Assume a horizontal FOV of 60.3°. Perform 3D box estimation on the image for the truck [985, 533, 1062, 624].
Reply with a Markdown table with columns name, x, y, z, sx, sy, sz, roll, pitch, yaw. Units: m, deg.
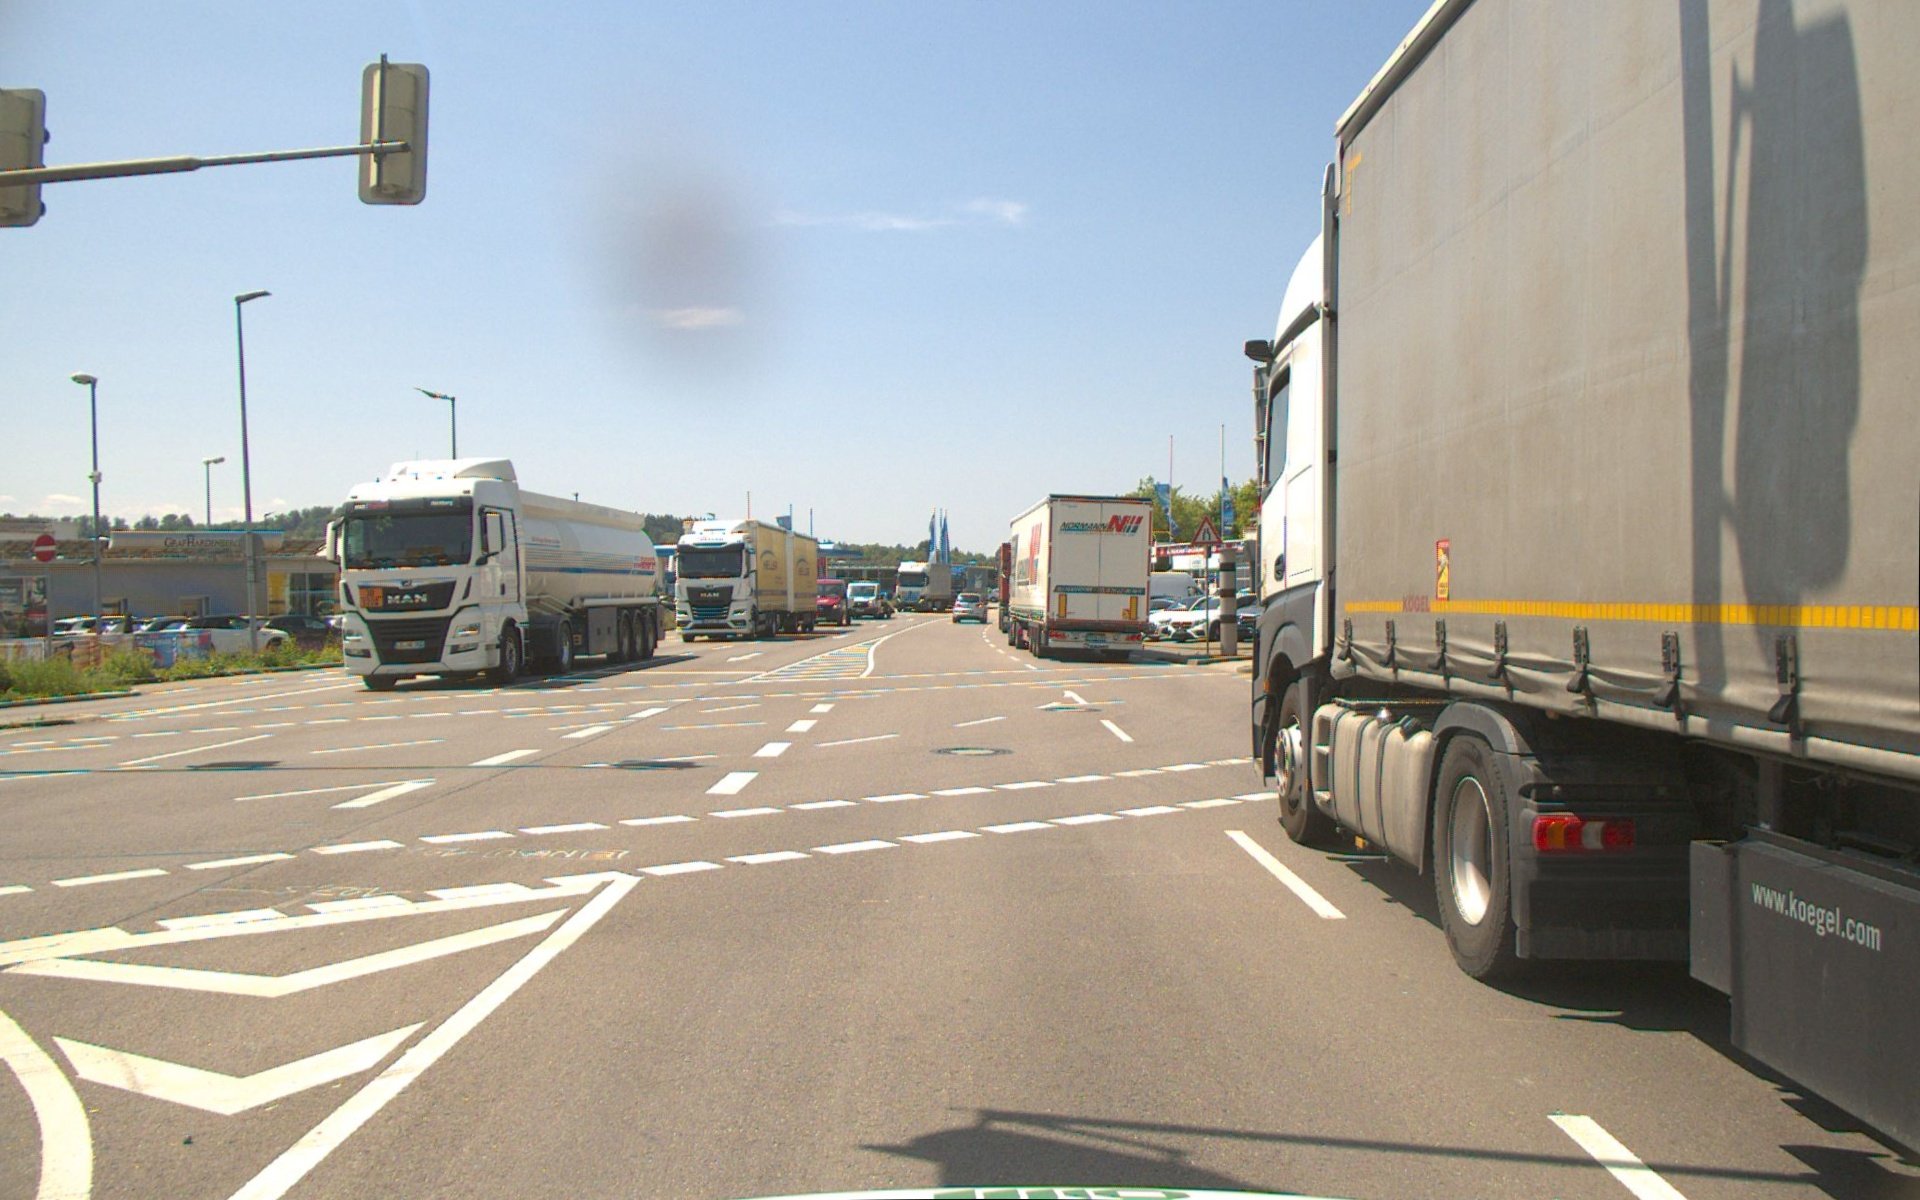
| name | x | y | z | sx | sy | sz | roll | pitch | yaw |
| --- | --- | --- | --- | --- | --- | --- | --- | --- | --- |
| truck | 2.868 | -0.954 | 78.594 | 2.594 | 3.873 | 13.355 | 2 | 0 | -2 |

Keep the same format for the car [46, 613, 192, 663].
| name | x | y | z | sx | sy | sz | roll | pitch | yaw |
| --- | --- | --- | --- | --- | --- | --- | --- | --- | --- |
| car | -28.604 | 1.282 | 56.350 | 1.958 | 1.489 | 3.990 | -2 | 0 | 32 |

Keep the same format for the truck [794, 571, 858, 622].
| name | x | y | z | sx | sy | sz | roll | pitch | yaw |
| --- | --- | --- | --- | --- | --- | --- | --- | --- | --- |
| truck | -6.777 | -0.160 | 84.592 | 2.346 | 2.487 | 6.874 | 1 | 0 | 3 |

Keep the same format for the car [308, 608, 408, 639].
| name | x | y | z | sx | sy | sz | roll | pitch | yaw |
| --- | --- | --- | --- | --- | --- | --- | --- | --- | --- |
| car | -22.934 | 0.881 | 63.074 | 1.530 | 1.087 | 3.361 | 0 | 0 | 32 |

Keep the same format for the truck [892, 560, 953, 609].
| name | x | y | z | sx | sy | sz | roll | pitch | yaw |
| --- | --- | --- | --- | --- | --- | --- | --- | --- | --- |
| truck | -3.069 | -1.202 | 141.738 | 2.731 | 3.957 | 16.495 | 1 | 0 | 7 |

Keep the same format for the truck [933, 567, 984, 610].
| name | x | y | z | sx | sy | sz | roll | pitch | yaw |
| --- | --- | --- | --- | --- | --- | --- | --- | --- | --- |
| truck | -0.040 | -1.060 | 163.271 | 2.783 | 3.957 | 17.018 | 1 | 0 | 7 |

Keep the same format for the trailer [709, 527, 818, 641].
| name | x | y | z | sx | sy | sz | roll | pitch | yaw |
| --- | --- | --- | --- | --- | --- | --- | --- | --- | --- |
| trailer | -7.940 | -0.629 | 68.266 | 2.948 | 4.362 | 10.061 | 0 | 0 | 2 |

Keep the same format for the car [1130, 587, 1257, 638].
| name | x | y | z | sx | sy | sz | roll | pitch | yaw |
| --- | --- | --- | --- | --- | --- | --- | --- | --- | --- |
| car | 8.402 | 0.423 | 59.370 | 4.419 | 1.433 | 1.728 | -5 | 2 | -32 |

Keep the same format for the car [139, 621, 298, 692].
| name | x | y | z | sx | sy | sz | roll | pitch | yaw |
| --- | --- | --- | --- | --- | --- | --- | --- | --- | --- |
| car | -23.819 | 1.780 | 53.239 | 1.960 | 2.049 | 4.224 | -2 | 0 | 36 |

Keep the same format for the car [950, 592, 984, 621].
| name | x | y | z | sx | sy | sz | roll | pitch | yaw |
| --- | --- | --- | --- | --- | --- | --- | --- | --- | --- |
| car | 0.405 | 0.383 | 94.888 | 1.884 | 1.638 | 4.095 | 0 | 0 | 1 |

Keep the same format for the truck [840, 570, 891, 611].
| name | x | y | z | sx | sy | sz | roll | pitch | yaw |
| --- | --- | --- | --- | --- | --- | --- | --- | --- | --- |
| truck | -5.796 | -0.578 | 102.258 | 2.374 | 2.381 | 5.678 | -2 | 0 | 4 |

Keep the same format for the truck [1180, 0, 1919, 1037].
| name | x | y | z | sx | sy | sz | roll | pitch | yaw |
| --- | --- | --- | --- | --- | --- | --- | --- | --- | --- |
| truck | 3.180 | -0.566 | 9.004 | 2.913 | 4.080 | 6.326 | -2 | 0 | -1 |

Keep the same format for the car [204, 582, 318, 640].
| name | x | y | z | sx | sy | sz | roll | pitch | yaw |
| --- | --- | --- | --- | --- | --- | --- | --- | --- | --- |
| car | -25.222 | 0.380 | 59.761 | 1.676 | 2.049 | 3.490 | 0 | 0 | 33 |

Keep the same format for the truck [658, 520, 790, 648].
| name | x | y | z | sx | sy | sz | roll | pitch | yaw |
| --- | --- | --- | --- | --- | --- | --- | --- | --- | --- |
| truck | -8.265 | -0.543 | 59.411 | 2.966 | 4.177 | 10.357 | 0 | 0 | 1 |

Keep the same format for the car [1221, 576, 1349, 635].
| name | x | y | z | sx | sy | sz | roll | pitch | yaw |
| --- | --- | --- | --- | --- | --- | --- | --- | --- | --- |
| car | 10.732 | 0.177 | 54.521 | 4.131 | 1.721 | 1.860 | -3 | 1 | -37 |

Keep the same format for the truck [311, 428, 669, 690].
| name | x | y | z | sx | sy | sz | roll | pitch | yaw |
| --- | --- | --- | --- | --- | --- | --- | --- | --- | --- |
| truck | -8.853 | -0.686 | 34.023 | 2.551 | 4.088 | 15.133 | -2 | 0 | 1 |

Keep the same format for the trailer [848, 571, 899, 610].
| name | x | y | z | sx | sy | sz | roll | pitch | yaw |
| --- | --- | --- | --- | --- | --- | --- | --- | --- | --- |
| trailer | -5.520 | -0.599 | 106.165 | 2.377 | 2.379 | 6.900 | -2 | 0 | 4 |

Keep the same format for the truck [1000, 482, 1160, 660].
| name | x | y | z | sx | sy | sz | roll | pitch | yaw |
| --- | --- | --- | --- | --- | --- | --- | --- | --- | --- |
| truck | 3.057 | -0.699 | 47.979 | 2.913 | 4.165 | 17.630 | 1 | 0 | -1 |

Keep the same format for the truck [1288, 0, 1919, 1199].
| name | x | y | z | sx | sy | sz | roll | pitch | yaw |
| --- | --- | --- | --- | --- | --- | --- | --- | --- | --- |
| truck | 3.280 | -0.585 | 1.356 | 2.913 | 4.080 | 14.120 | -2 | 0 | -1 |

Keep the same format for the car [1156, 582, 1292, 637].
| name | x | y | z | sx | sy | sz | roll | pitch | yaw |
| --- | --- | --- | --- | --- | --- | --- | --- | --- | --- |
| car | 9.096 | 0.311 | 56.880 | 4.694 | 1.580 | 1.972 | -4 | 1 | -39 |

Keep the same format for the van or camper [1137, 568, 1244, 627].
| name | x | y | z | sx | sy | sz | roll | pitch | yaw |
| --- | --- | --- | --- | --- | --- | --- | --- | --- | --- |
| van or camper | 11.694 | -0.137 | 84.218 | 5.256 | 2.956 | 2.233 | 0 | 0 | 3 |
